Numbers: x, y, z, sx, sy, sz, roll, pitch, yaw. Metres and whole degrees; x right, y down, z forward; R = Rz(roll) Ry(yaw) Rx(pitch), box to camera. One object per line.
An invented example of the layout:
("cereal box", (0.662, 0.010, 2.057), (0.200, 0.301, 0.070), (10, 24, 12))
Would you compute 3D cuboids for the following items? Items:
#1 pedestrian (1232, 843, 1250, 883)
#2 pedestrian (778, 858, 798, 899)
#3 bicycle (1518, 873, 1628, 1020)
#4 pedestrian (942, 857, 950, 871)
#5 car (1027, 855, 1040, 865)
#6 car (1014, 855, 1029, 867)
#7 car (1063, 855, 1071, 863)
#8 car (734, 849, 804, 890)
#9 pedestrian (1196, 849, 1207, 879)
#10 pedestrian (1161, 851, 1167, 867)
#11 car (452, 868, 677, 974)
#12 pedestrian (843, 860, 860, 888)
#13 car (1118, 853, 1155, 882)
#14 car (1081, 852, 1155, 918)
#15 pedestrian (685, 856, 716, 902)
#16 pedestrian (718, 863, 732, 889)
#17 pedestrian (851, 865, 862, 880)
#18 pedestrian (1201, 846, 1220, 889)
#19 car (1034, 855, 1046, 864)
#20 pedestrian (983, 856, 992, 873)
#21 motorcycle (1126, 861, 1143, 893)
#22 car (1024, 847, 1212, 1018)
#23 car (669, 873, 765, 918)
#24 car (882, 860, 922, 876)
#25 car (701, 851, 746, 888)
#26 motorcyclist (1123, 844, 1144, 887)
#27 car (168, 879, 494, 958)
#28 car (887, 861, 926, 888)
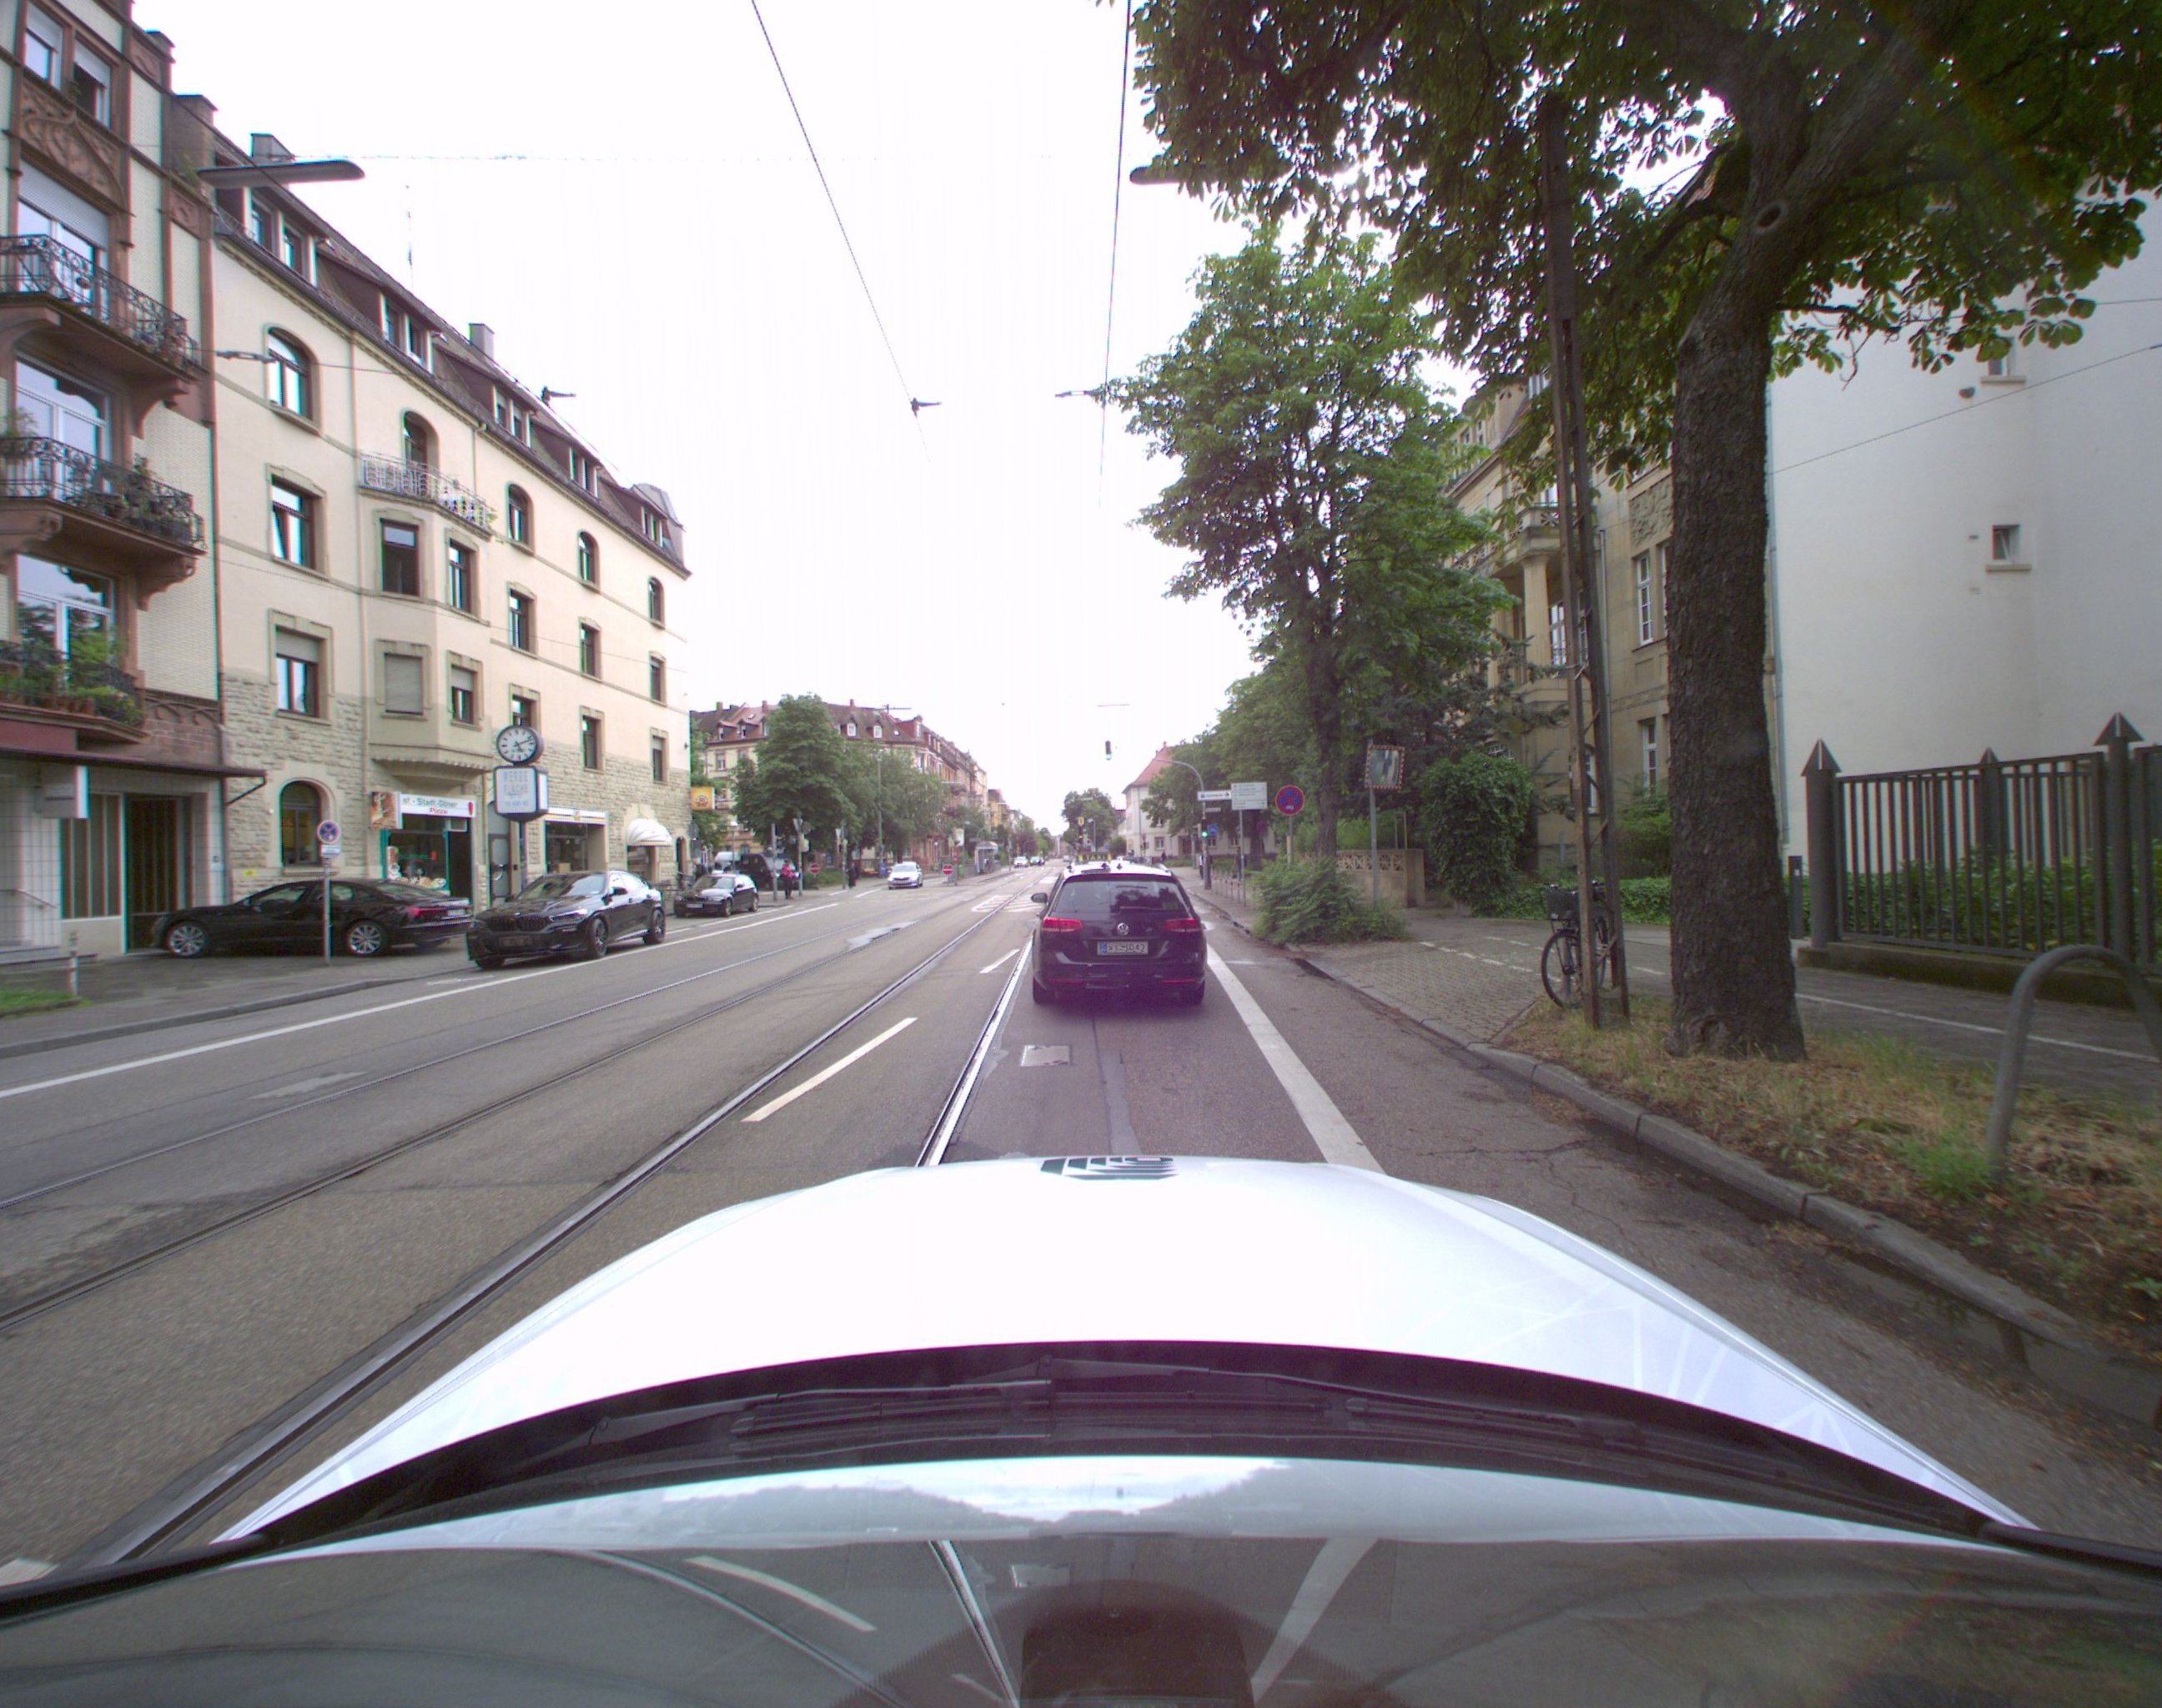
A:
("pedestrian", (7.382, 0.411, 37.648), (0.630, 1.815, 0.725), (-2, 0, -3))
("pedestrian", (-13.410, 1.109, 37.274), (0.621, 1.842, 0.609), (-2, 0, -3))
("bicycle", (4.638, 0.788, 7.620), (0.428, 1.198, 1.915), (-2, -2, 44))
("pedestrian", (-14.679, 1.106, 88.422), (0.582, 1.521, 0.653), (-2, -1, 35))
("car", (-8.015, 1.059, 138.817), (1.788, 1.596, 4.002), (-2, 0, 2))
("car", (-8.855, 1.033, 121.781), (1.788, 1.596, 4.002), (-2, 0, 2))
("car", (-3.995, 1.399, 230.136), (2.026, 2.014, 3.999), (-1, -1, -1))
("car", (-19.639, 0.982, 51.098), (2.198, 2.417, 5.314), (-1, 0, -43))
("pedestrian", (7.498, 0.622, 50.734), (0.512, 1.831, 0.418), (-5, 0, 0))
("pedestrian", (8.396, 0.514, 82.649), (0.579, 1.553, 0.610), (-1, 0, 2))
("car", (-9.908, 1.162, 16.187), (1.883, 1.611, 4.872), (-4, 0, -9))
("pedestrian", (-14.180, 1.236, 50.319), (0.833, 1.663, 0.591), (-2, 0, 1))
("car", (3.083, 0.746, 45.924), (1.718, 1.546, 3.999), (-1, 0, 0))
("car", (0.889, 0.740, 21.511), (1.718, 1.546, 3.999), (-1, 0, 0))
("pedestrian", (-17.421, 1.131, 37.321), (0.971, 2.013, 0.835), (-2, 0, -1))
("pedestrian", (-23.823, 1.451, 54.517), (0.704, 1.715, 0.545), (-1, -1, -41))
("pedestrian", (-18.403, 1.510, 66.741), (0.591, 1.168, 0.837), (-2, 0, -30))
("pedestrian", (5.659, 0.599, 35.641), (0.583, 1.831, 0.604), (-5, 0, 0))
("car", (-7.846, 1.082, 156.171), (1.788, 1.596, 4.002), (-2, 0, 2))
("pedestrian", (-8.474, 0.946, 74.074), (0.712, 1.521, 0.590), (-2, 0, 1))
("motorcycle", (2.164, 0.904, 32.792), (0.444, 1.235, 1.912), (-2, 0, 10))
("car", (0.336, 0.733, 9.565), (1.718, 1.546, 3.999), (-1, 0, 0))
("car", (-12.659, 1.393, 28.619), (1.645, 1.361, 4.125), (1, 0, -3))
("car", (-19.441, 1.540, 88.665), (3.884, 1.622, 1.706), (-2, 0, -42))
("car", (-26.096, 1.122, 59.312), (2.194, 2.527, 5.325), (-2, 0, -32))
("motorcyclist", (2.109, 0.442, 32.853), (0.698, 1.692, 0.807), (-2, 0, 10))
("car", (-14.498, 1.229, 15.991), (4.418, 1.370, 1.877), (1, 0, -6))
("car", (-10.079, 1.163, 47.251), (1.686, 1.410, 3.992), (-3, 0, -5))
